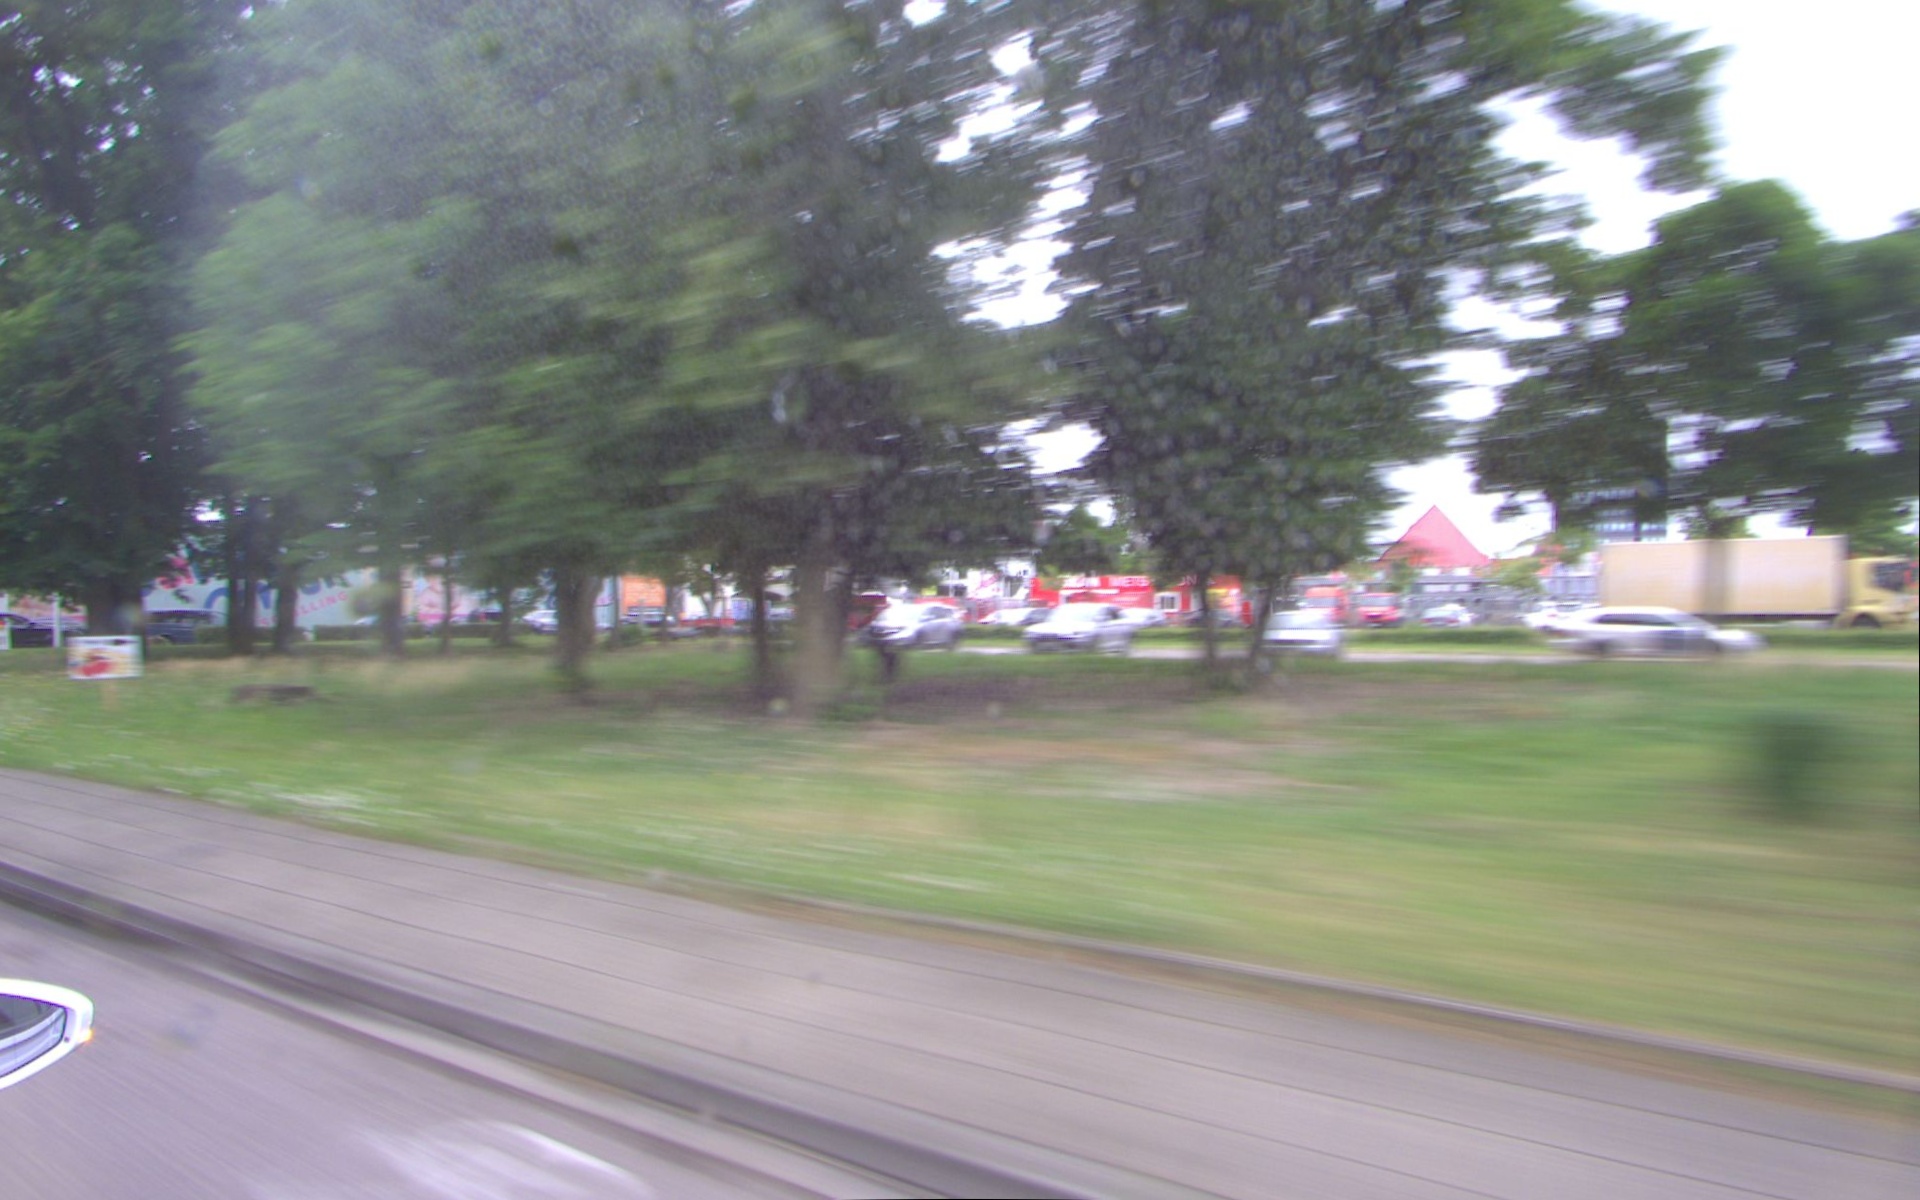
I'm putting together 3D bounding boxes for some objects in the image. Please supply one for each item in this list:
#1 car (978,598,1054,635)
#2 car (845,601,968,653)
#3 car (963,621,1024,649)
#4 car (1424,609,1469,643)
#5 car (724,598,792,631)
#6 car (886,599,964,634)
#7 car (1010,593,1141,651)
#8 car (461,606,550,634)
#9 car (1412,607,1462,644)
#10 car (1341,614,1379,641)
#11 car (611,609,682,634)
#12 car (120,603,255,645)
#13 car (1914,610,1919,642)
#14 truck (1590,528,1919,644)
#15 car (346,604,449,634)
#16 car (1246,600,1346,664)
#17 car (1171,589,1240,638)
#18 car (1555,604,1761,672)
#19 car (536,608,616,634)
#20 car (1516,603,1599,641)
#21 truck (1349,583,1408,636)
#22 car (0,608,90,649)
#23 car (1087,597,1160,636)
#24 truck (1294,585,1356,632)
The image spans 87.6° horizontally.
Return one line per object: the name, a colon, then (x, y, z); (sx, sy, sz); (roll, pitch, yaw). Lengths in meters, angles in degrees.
car: (2.793, 0.770, 48.701); (2.121, 1.699, 4.552); (0, 0, 26)
car: (-1.600, 0.879, 31.663); (1.929, 1.516, 4.531); (-1, -2, 26)
car: (2.171, 2.159, 63.052); (2.121, 1.576, 4.551); (0, 0, 27)
car: (26.088, 1.340, 53.732); (2.121, 1.699, 4.552); (0, 0, 26)
car: (-16.134, 1.151, 80.428); (2.043, 2.571, 5.733); (0, 0, 31)
car: (-1.738, 0.819, 51.253); (2.121, 1.699, 4.552); (0, 0, 26)
car: (3.445, 0.682, 28.964); (2.138, 1.516, 4.672); (-1, -2, 29)
car: (-27.417, 1.177, 60.562); (2.043, 1.592, 4.546); (0, 0, 31)
car: (23.702, 1.236, 49.755); (2.121, 1.699, 4.552); (0, 0, 26)
car: (27.225, 1.859, 68.058); (2.121, 1.699, 4.552); (0, 0, 26)
car: (-21.851, 1.482, 69.937); (2.043, 1.592, 4.546); (0, 0, 31)
car: (-35.708, 1.076, 46.387); (2.042, 1.814, 4.546); (1, 0, 31)
car: (52.643, 1.405, 52.772); (2.121, 1.699, 4.552); (0, 0, 26)
truck: (27.169, -0.316, 34.497); (9.114, 3.609, 2.936); (-1, -2, 31)
car: (-30.775, 1.016, 54.912); (2.043, 1.592, 4.546); (0, 0, 31)
car: (8.817, 0.856, 26.036); (1.900, 1.516, 4.444); (-1, -2, 26)
car: (11.065, 0.597, 44.917); (2.121, 2.078, 4.552); (0, 0, 26)
car: (18.803, 1.031, 27.243); (4.442, 1.691, 1.990); (-1, -2, 33)
car: (-24.850, 1.354, 64.936); (2.043, 1.592, 4.546); (0, 0, 31)
car: (27.917, 0.984, 46.976); (2.115, 1.699, 4.563); (0, 0, 14)
truck: (24.343, 0.504, 58.029); (2.446, 2.853, 7.853); (0, 0, 28)
car: (-38.506, 1.155, 40.575); (1.963, 1.592, 4.546); (0, 0, 31)
car: (7.569, 0.726, 46.132); (2.121, 1.699, 4.552); (0, 0, 26)
truck: (21.910, 0.487, 59.806); (2.446, 2.670, 7.853); (0, 0, 28)
